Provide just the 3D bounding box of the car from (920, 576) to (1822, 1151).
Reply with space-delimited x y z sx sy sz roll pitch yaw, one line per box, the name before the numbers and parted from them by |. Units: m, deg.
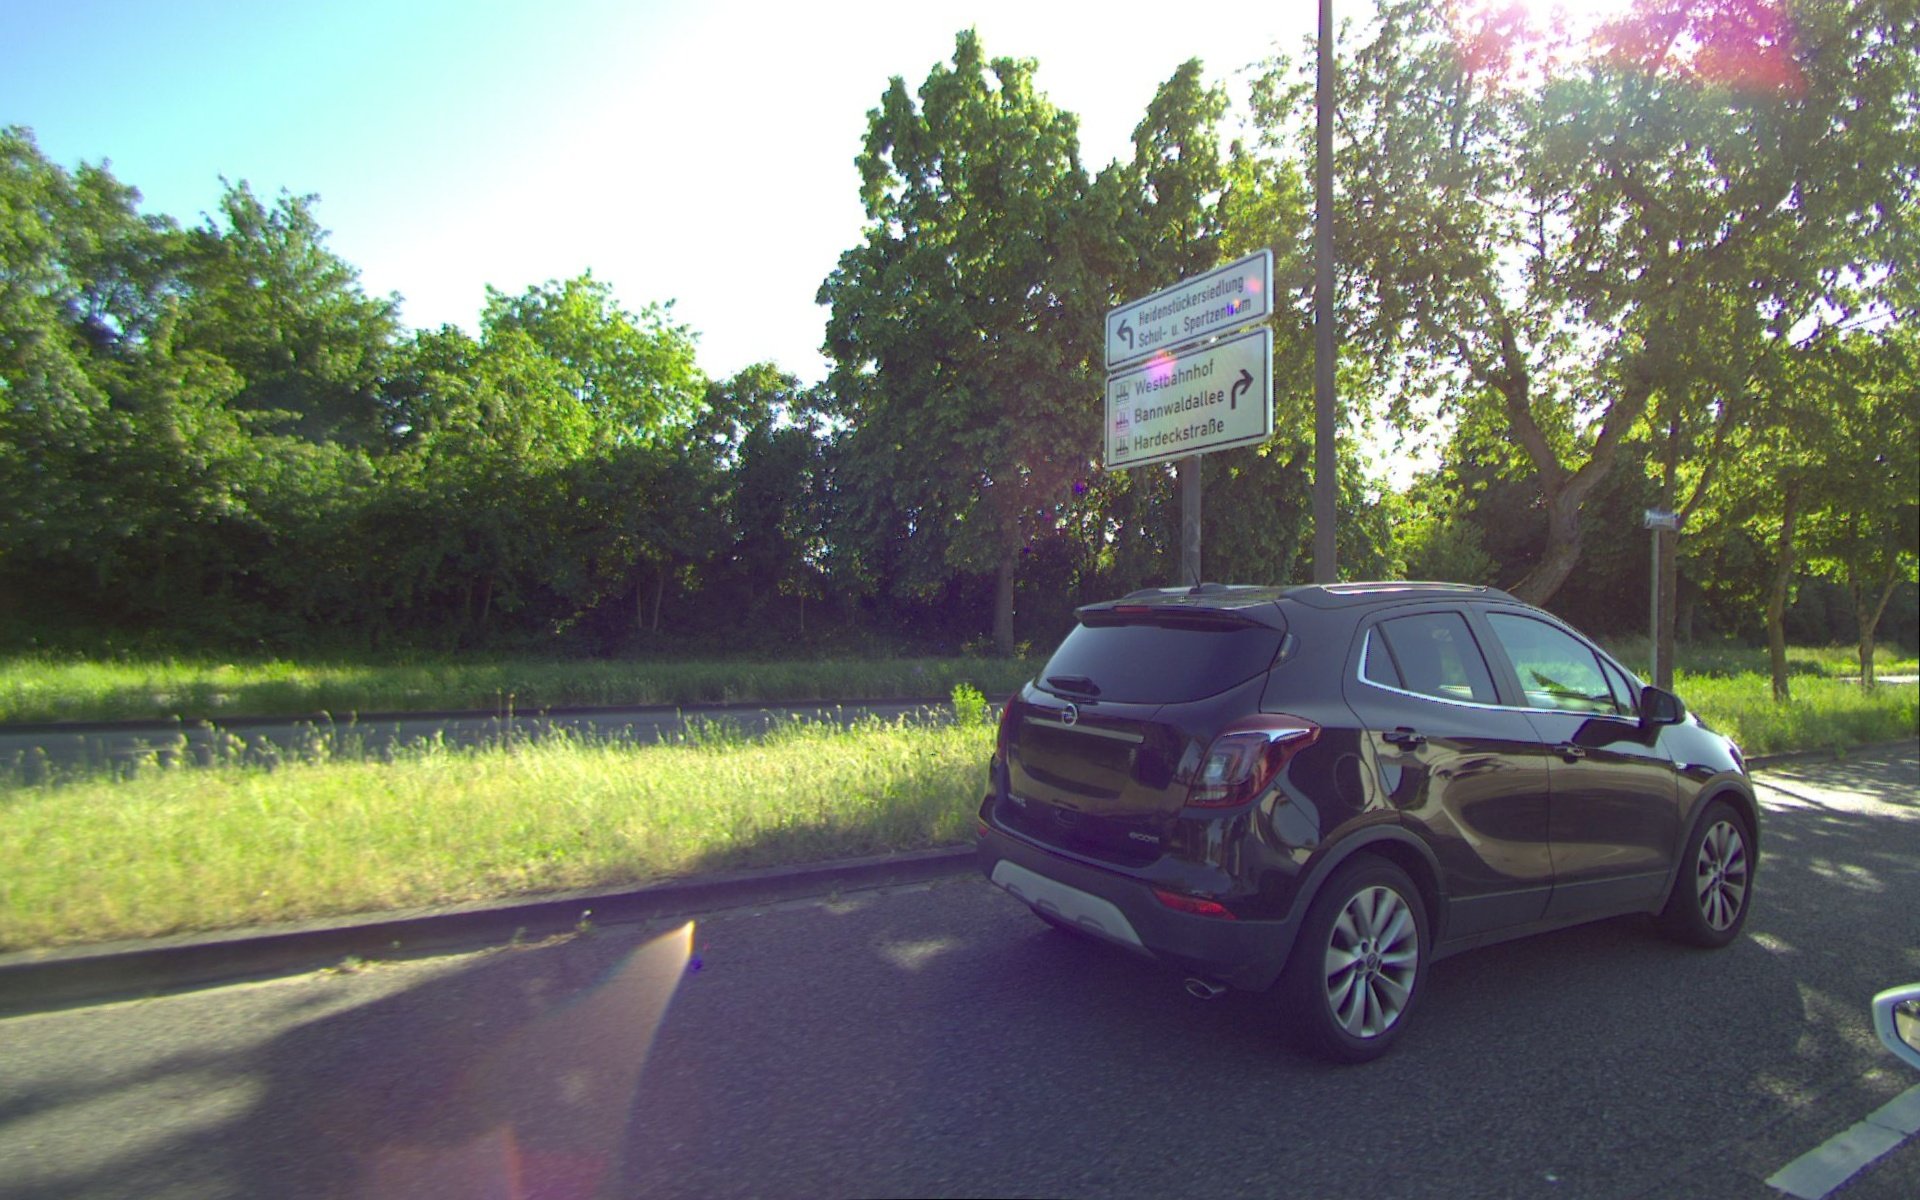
car | 2.124 0.813 4.758 4.366 1.653 1.687 1 -1 -31
